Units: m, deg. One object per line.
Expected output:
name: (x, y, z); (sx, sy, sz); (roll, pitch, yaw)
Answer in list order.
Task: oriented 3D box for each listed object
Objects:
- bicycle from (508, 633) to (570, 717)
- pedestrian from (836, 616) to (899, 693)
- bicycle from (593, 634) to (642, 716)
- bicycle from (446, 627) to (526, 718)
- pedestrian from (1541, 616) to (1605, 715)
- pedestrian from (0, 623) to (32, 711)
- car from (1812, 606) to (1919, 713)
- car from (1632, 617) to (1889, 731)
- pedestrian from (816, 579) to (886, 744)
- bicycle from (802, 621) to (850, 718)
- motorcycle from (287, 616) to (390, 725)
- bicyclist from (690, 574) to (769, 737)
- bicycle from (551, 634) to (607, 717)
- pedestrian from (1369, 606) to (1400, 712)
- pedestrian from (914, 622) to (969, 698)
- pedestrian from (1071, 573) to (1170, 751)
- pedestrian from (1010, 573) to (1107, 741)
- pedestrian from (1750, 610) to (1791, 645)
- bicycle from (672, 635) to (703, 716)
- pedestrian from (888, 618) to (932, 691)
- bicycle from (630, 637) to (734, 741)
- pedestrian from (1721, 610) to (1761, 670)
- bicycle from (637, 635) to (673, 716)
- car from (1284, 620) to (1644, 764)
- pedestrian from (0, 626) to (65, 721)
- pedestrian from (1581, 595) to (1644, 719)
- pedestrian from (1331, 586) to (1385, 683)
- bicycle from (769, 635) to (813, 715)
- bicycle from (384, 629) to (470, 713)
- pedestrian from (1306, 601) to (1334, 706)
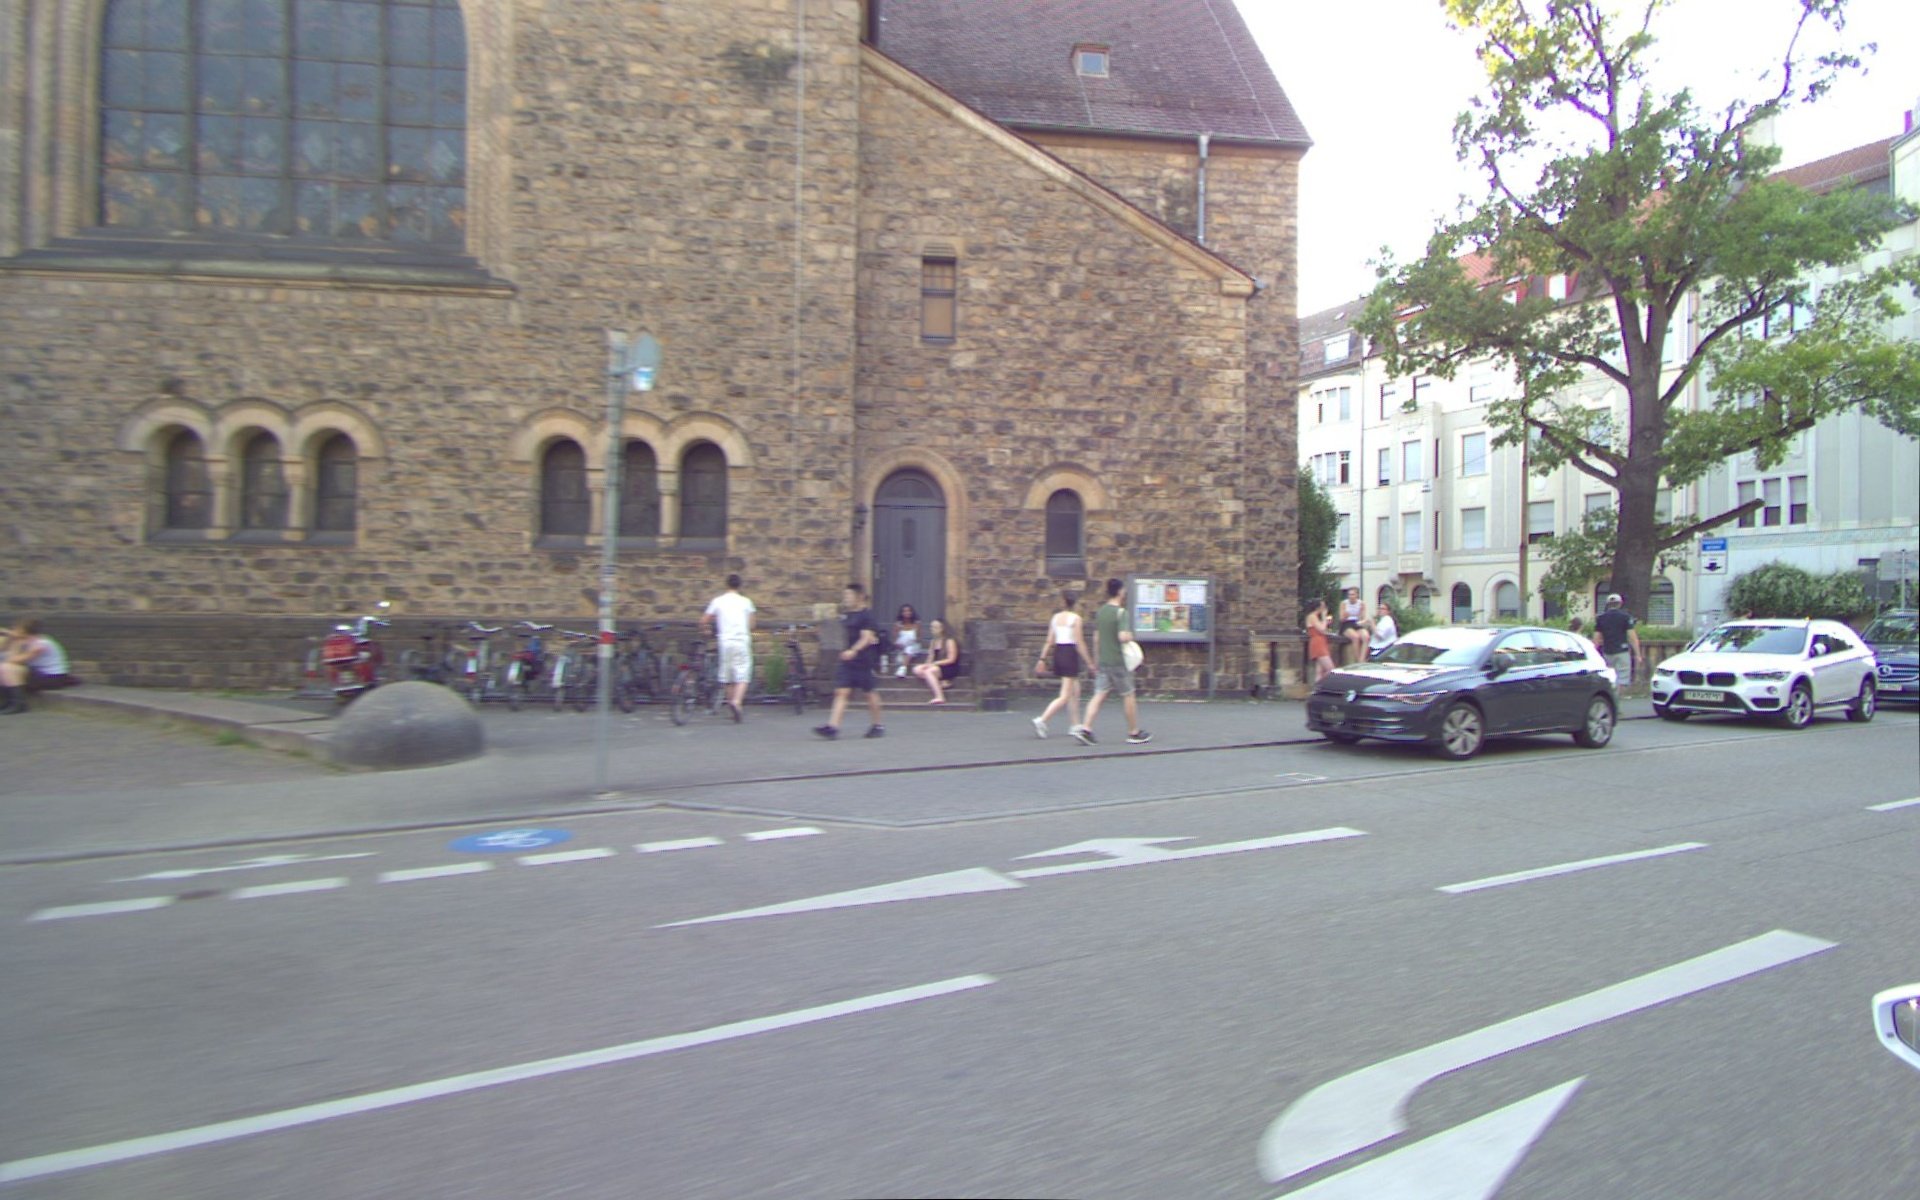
bicycle: (-5.600, 0.962, 13.437); (0.458, 1.002, 2.002); (1, -1, -14)
pedestrian: (-1.339, 0.776, 14.539); (0.726, 1.062, 0.519); (0, -1, 30)
bicycle: (-4.616, 0.975, 13.608); (0.458, 1.002, 1.985); (1, -1, -14)
bicycle: (-6.252, 0.925, 13.343); (0.576, 1.002, 2.002); (1, 2, -14)
pedestrian: (10.134, 1.069, 16.603); (0.830, 1.572, 0.578); (1, 0, -33)
pedestrian: (-10.978, 0.750, 11.276); (0.551, 0.980, 0.649); (0, -1, 27)
car: (18.998, 1.113, 19.541); (5.225, 1.891, 1.985); (1, -1, -29)
car: (12.867, 1.107, 16.087); (4.419, 1.613, 1.861); (2, -1, -32)
pedestrian: (-1.188, 0.665, 11.087); (0.702, 1.748, 0.691); (1, -1, -3)
bicycle: (-1.882, 0.921, 13.959); (0.430, 1.265, 1.728); (1, -1, -15)
motorcycle: (-7.715, 0.819, 12.573); (0.811, 1.141, 2.407); (1, 1, -25)
bicyclist: (-2.808, 0.656, 12.312); (0.694, 1.905, 0.942); (1, 0, 1)
bicycle: (-5.103, 0.972, 13.513); (0.458, 1.002, 2.002); (1, -1, -14)
pedestrian: (6.738, 0.926, 15.955); (0.407, 1.643, 0.548); (1, -1, 20)
pedestrian: (-0.267, 0.853, 14.380); (0.688, 1.070, 0.516); (1, -1, -13)
pedestrian: (1.795, 0.675, 11.238); (0.882, 1.904, 0.643); (1, -1, -33)
pedestrian: (1.155, 0.651, 11.753); (0.978, 1.881, 0.569); (1, -1, -33)
pedestrian: (23.435, 0.795, 29.042); (0.827, 0.993, 0.702); (1, -2, -32)
bicycle: (-3.722, 1.001, 13.756); (0.364, 1.002, 1.879); (1, -1, -15)
pedestrian: (-0.752, 0.807, 14.959); (0.596, 1.062, 0.498); (1, -1, -10)
bicycle: (-3.210, 0.989, 11.813); (0.542, 1.026, 2.188); (1, 0, 1)
pedestrian: (23.059, 1.168, 29.650); (0.827, 1.744, 0.702); (1, -1, -32)
bicycle: (-4.138, 0.995, 13.680); (0.364, 1.002, 1.879); (1, -1, -14)
car: (6.075, 1.002, 12.019); (4.263, 1.454, 1.776); (2, -1, -29)
pedestrian: (-10.425, 0.793, 11.055); (0.551, 1.005, 0.695); (0, -1, 27)
pedestrian: (10.484, 0.902, 16.137); (0.794, 1.930, 0.579); (1, -1, -33)
pedestrian: (6.607, 0.572, 16.702); (0.574, 1.566, 0.652); (1, -1, -6)
bicycle: (-2.350, 1.000, 13.844); (0.434, 1.002, 1.879); (1, -1, -14)
bicycle: (-6.976, 0.894, 13.231); (0.576, 1.002, 2.001); (1, -1, -16)
pedestrian: (5.941, 0.870, 16.553); (0.407, 1.697, 0.548); (1, -1, 20)
